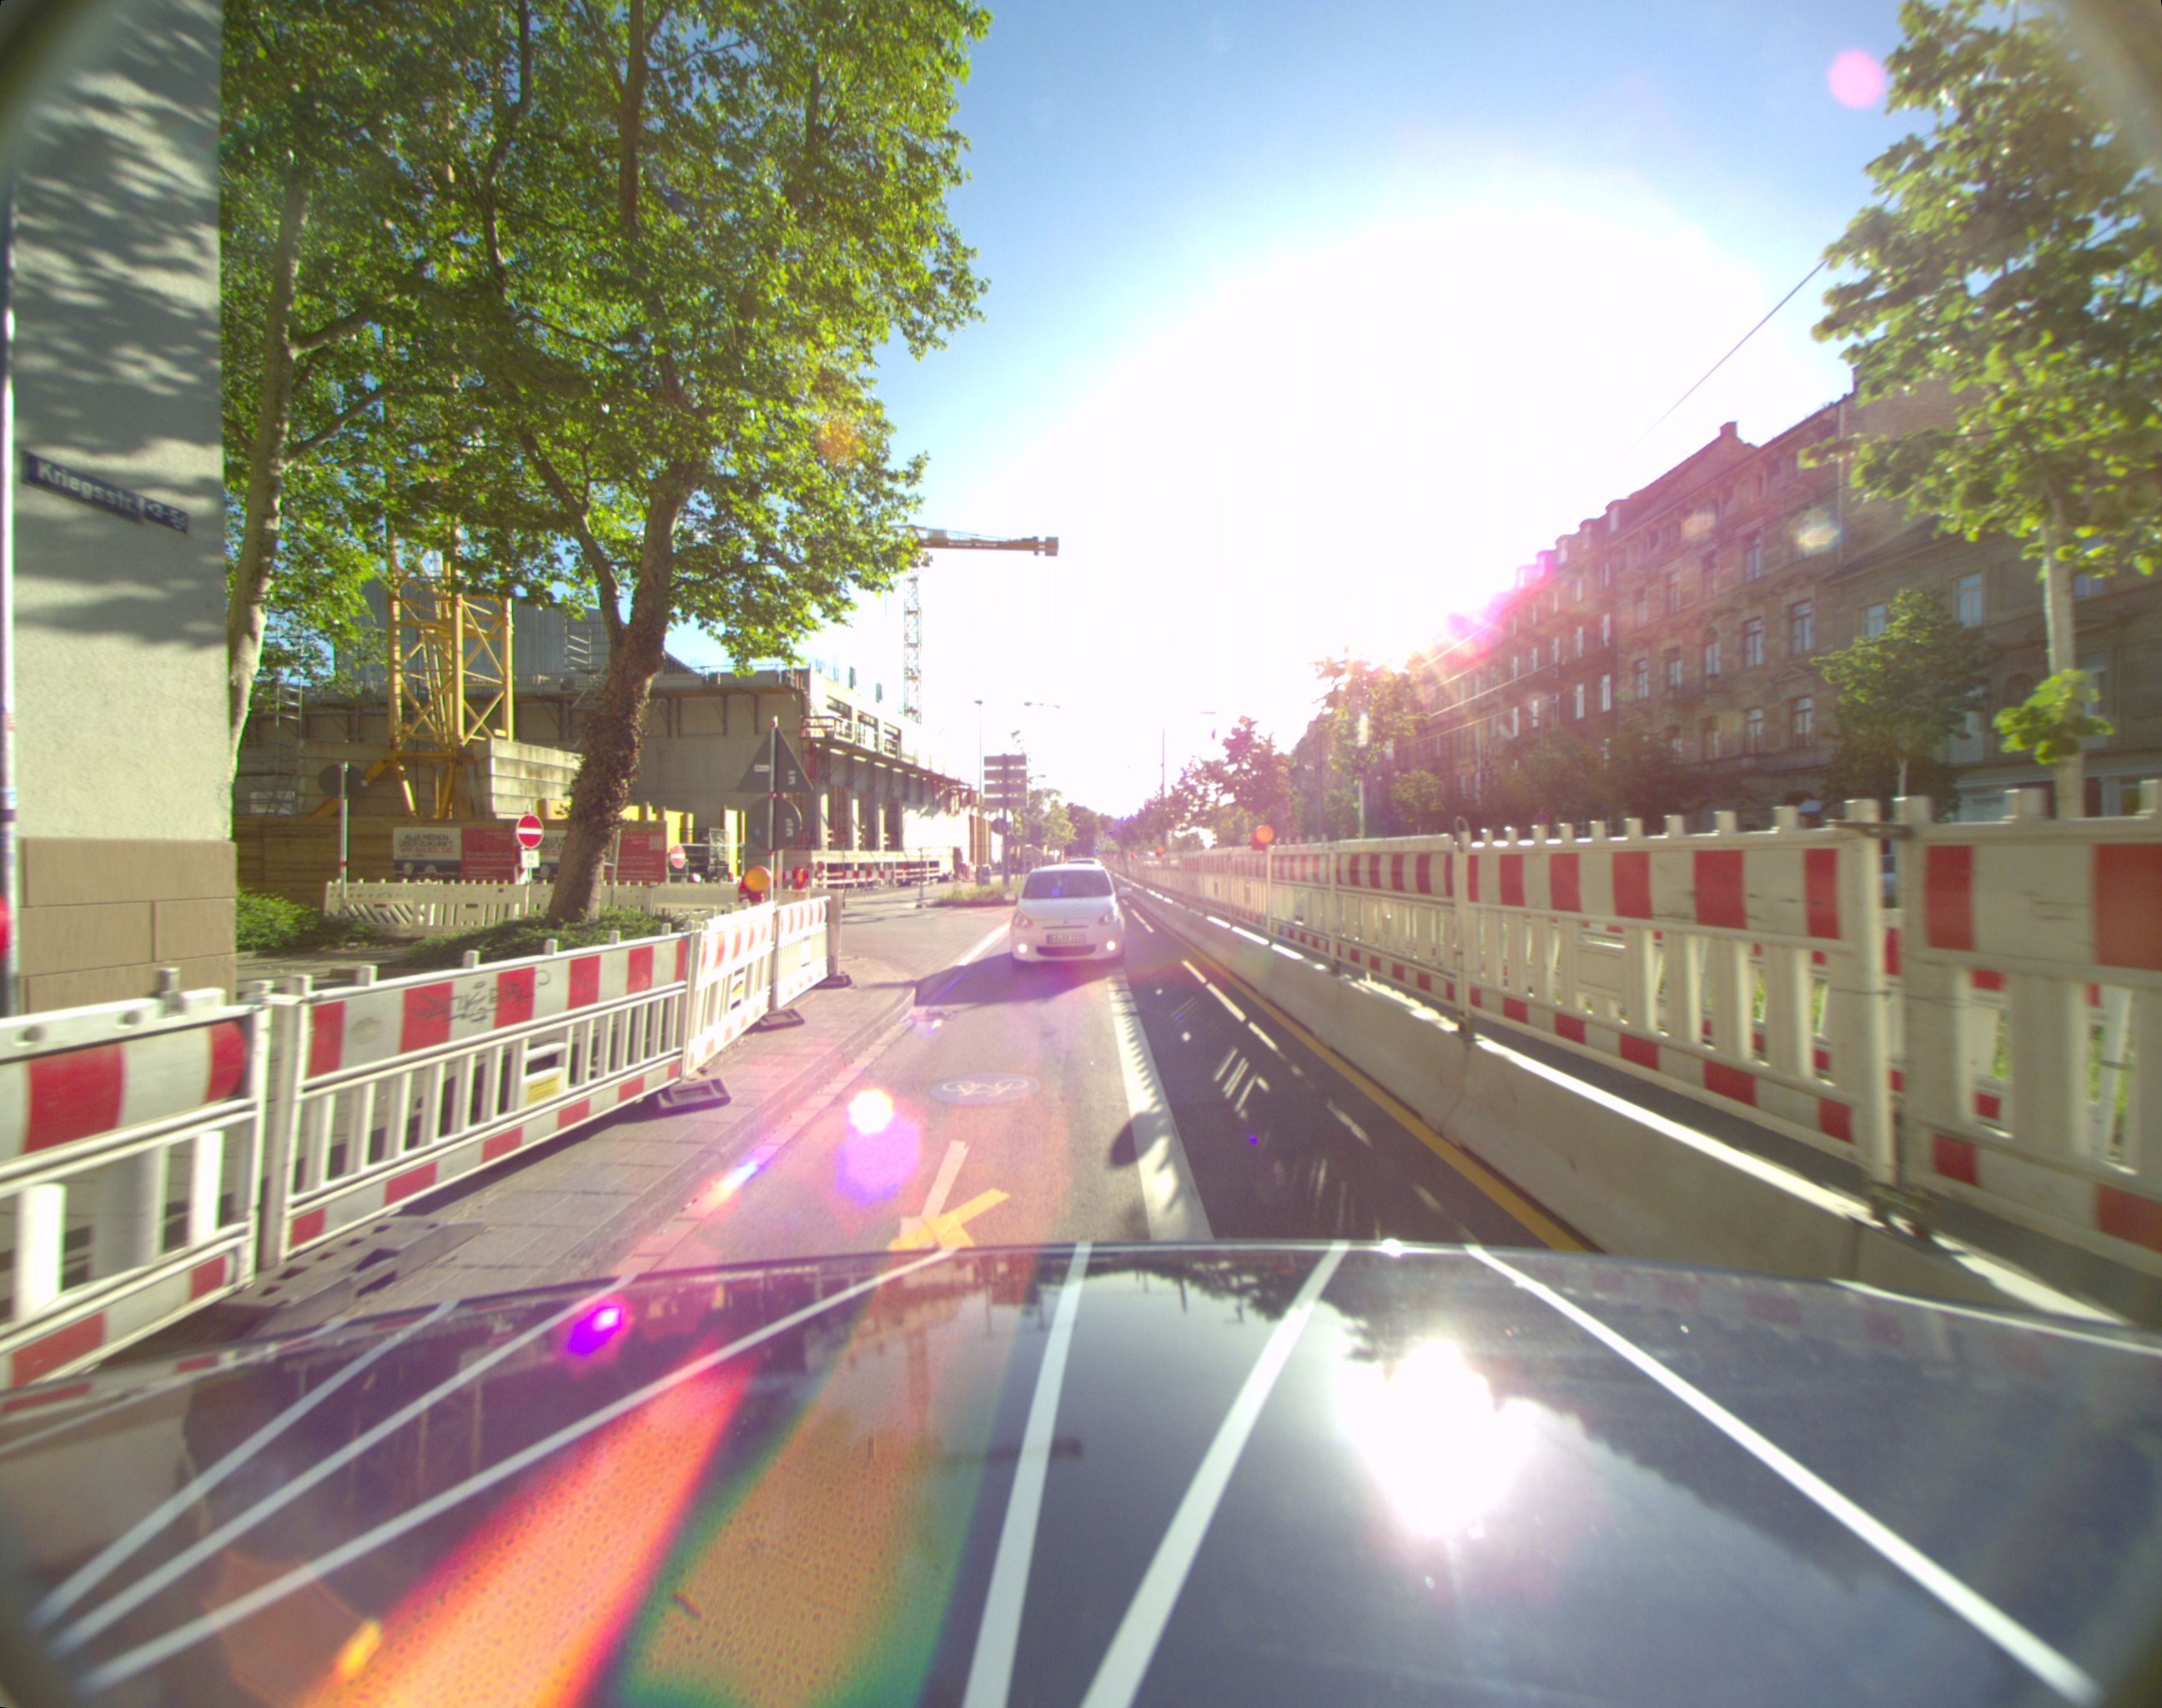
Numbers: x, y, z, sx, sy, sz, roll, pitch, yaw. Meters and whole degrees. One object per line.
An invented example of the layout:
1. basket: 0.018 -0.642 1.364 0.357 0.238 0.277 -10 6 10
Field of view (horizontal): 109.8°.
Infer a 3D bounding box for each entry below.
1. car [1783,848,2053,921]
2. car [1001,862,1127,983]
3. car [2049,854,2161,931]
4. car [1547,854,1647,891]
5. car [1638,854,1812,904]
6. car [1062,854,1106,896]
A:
1. car: 22.632 0.742 20.938 1.999 1.688 4.887 -3 0 0
2. car: -0.190 0.953 12.431 1.634 1.499 4.350 -3 0 1
3. car: 22.471 0.771 14.695 1.999 1.429 4.308 -3 0 0
4. car: 22.888 0.782 33.899 1.753 1.471 4.028 -3 0 1
5. car: 22.781 0.819 27.214 1.998 1.529 4.984 -3 0 1
6. car: 0.146 0.941 36.100 1.900 1.730 4.000 -4 0 0
